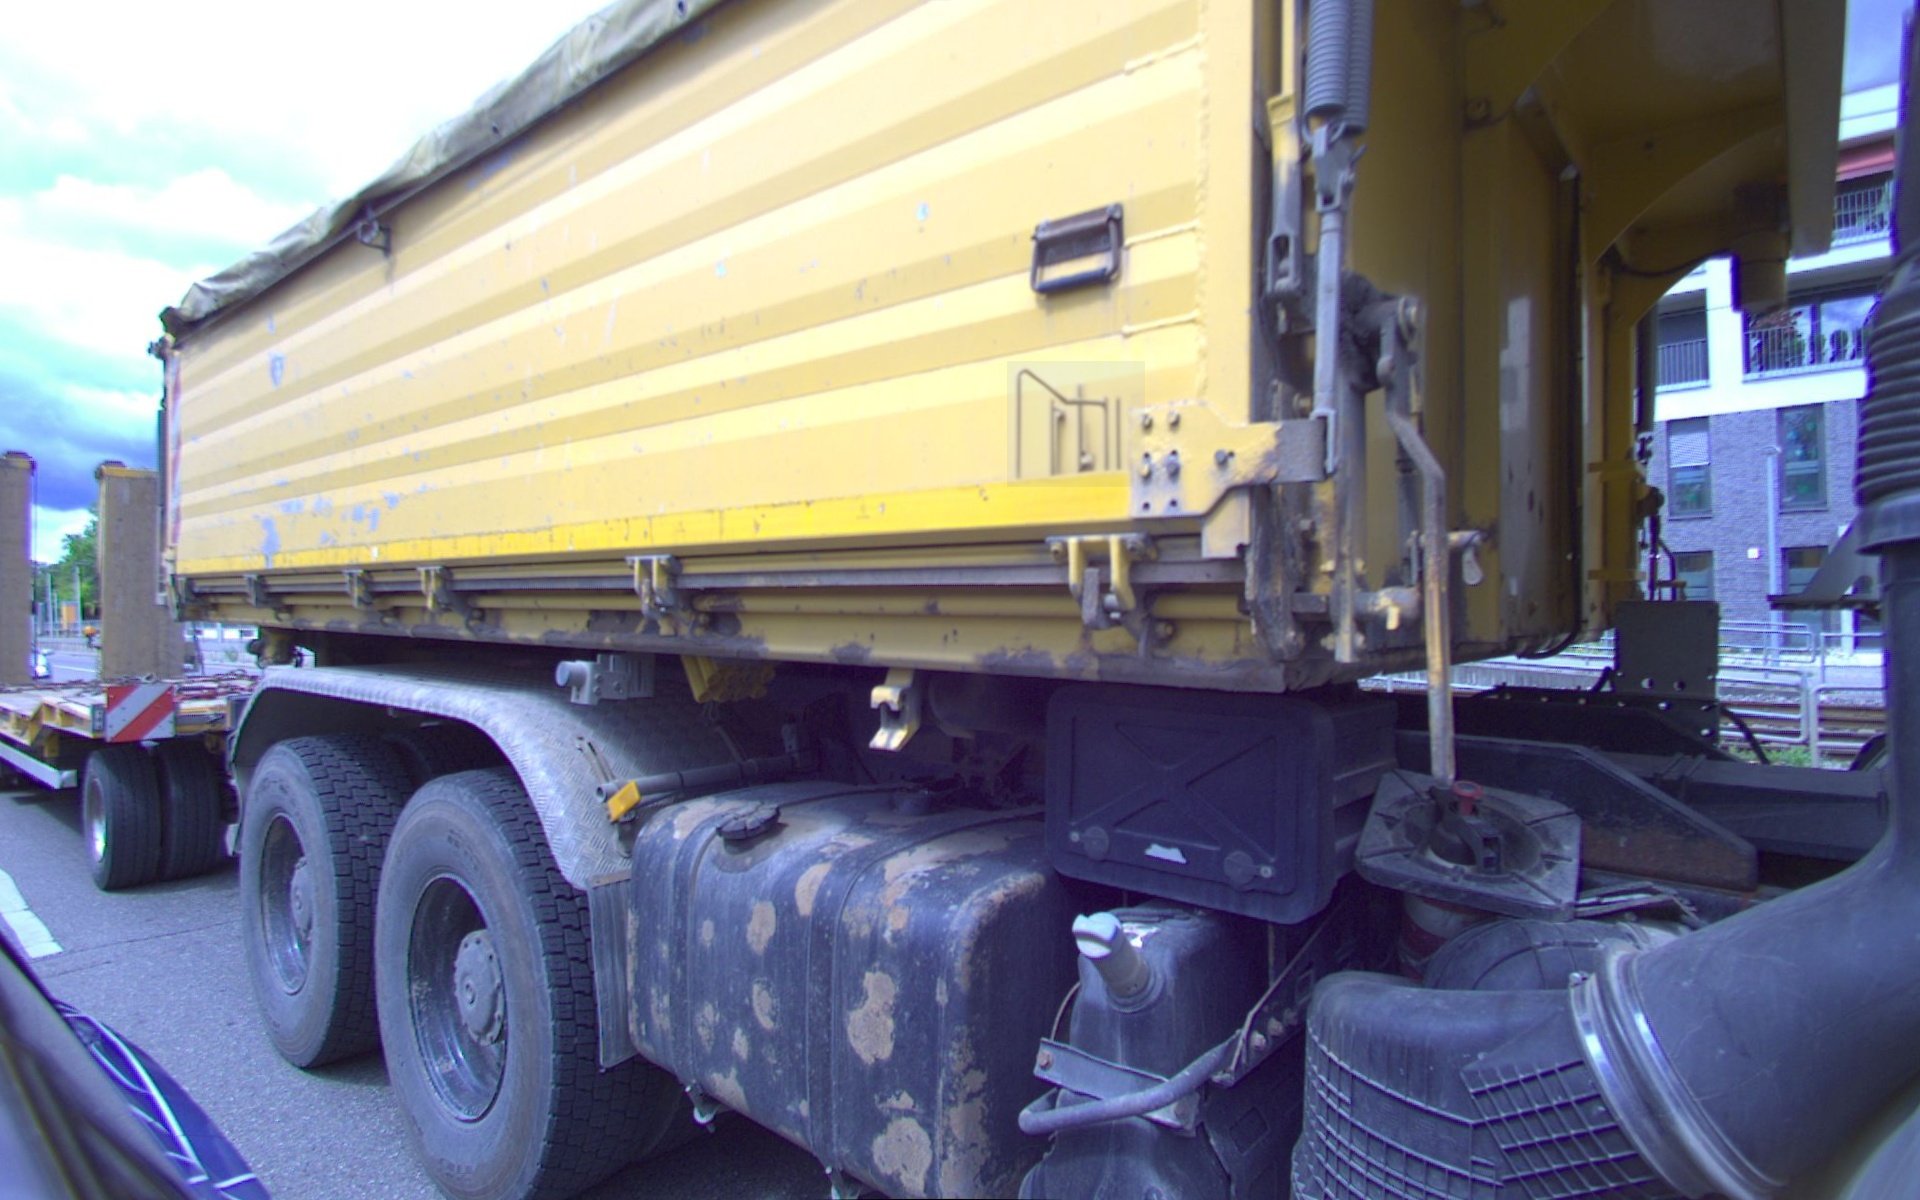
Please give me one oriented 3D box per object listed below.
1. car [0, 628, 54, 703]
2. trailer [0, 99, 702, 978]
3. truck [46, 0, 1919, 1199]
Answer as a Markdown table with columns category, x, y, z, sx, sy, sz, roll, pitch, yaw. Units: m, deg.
| category | x | y | z | sx | sy | sz | roll | pitch | yaw |
| --- | --- | --- | --- | --- | --- | --- | --- | --- | --- |
| car | -20.019 | 1.326 | 20.727 | 3.784 | 1.427 | 1.761 | -2 | -1 | 41 |
| trailer | -6.853 | -0.140 | 9.000 | 10.957 | 3.726 | 3.018 | -2 | -1 | 40 |
| truck | 0.147 | -0.224 | 2.880 | 7.999 | 3.420 | 3.019 | -2 | -1 | 40 |
